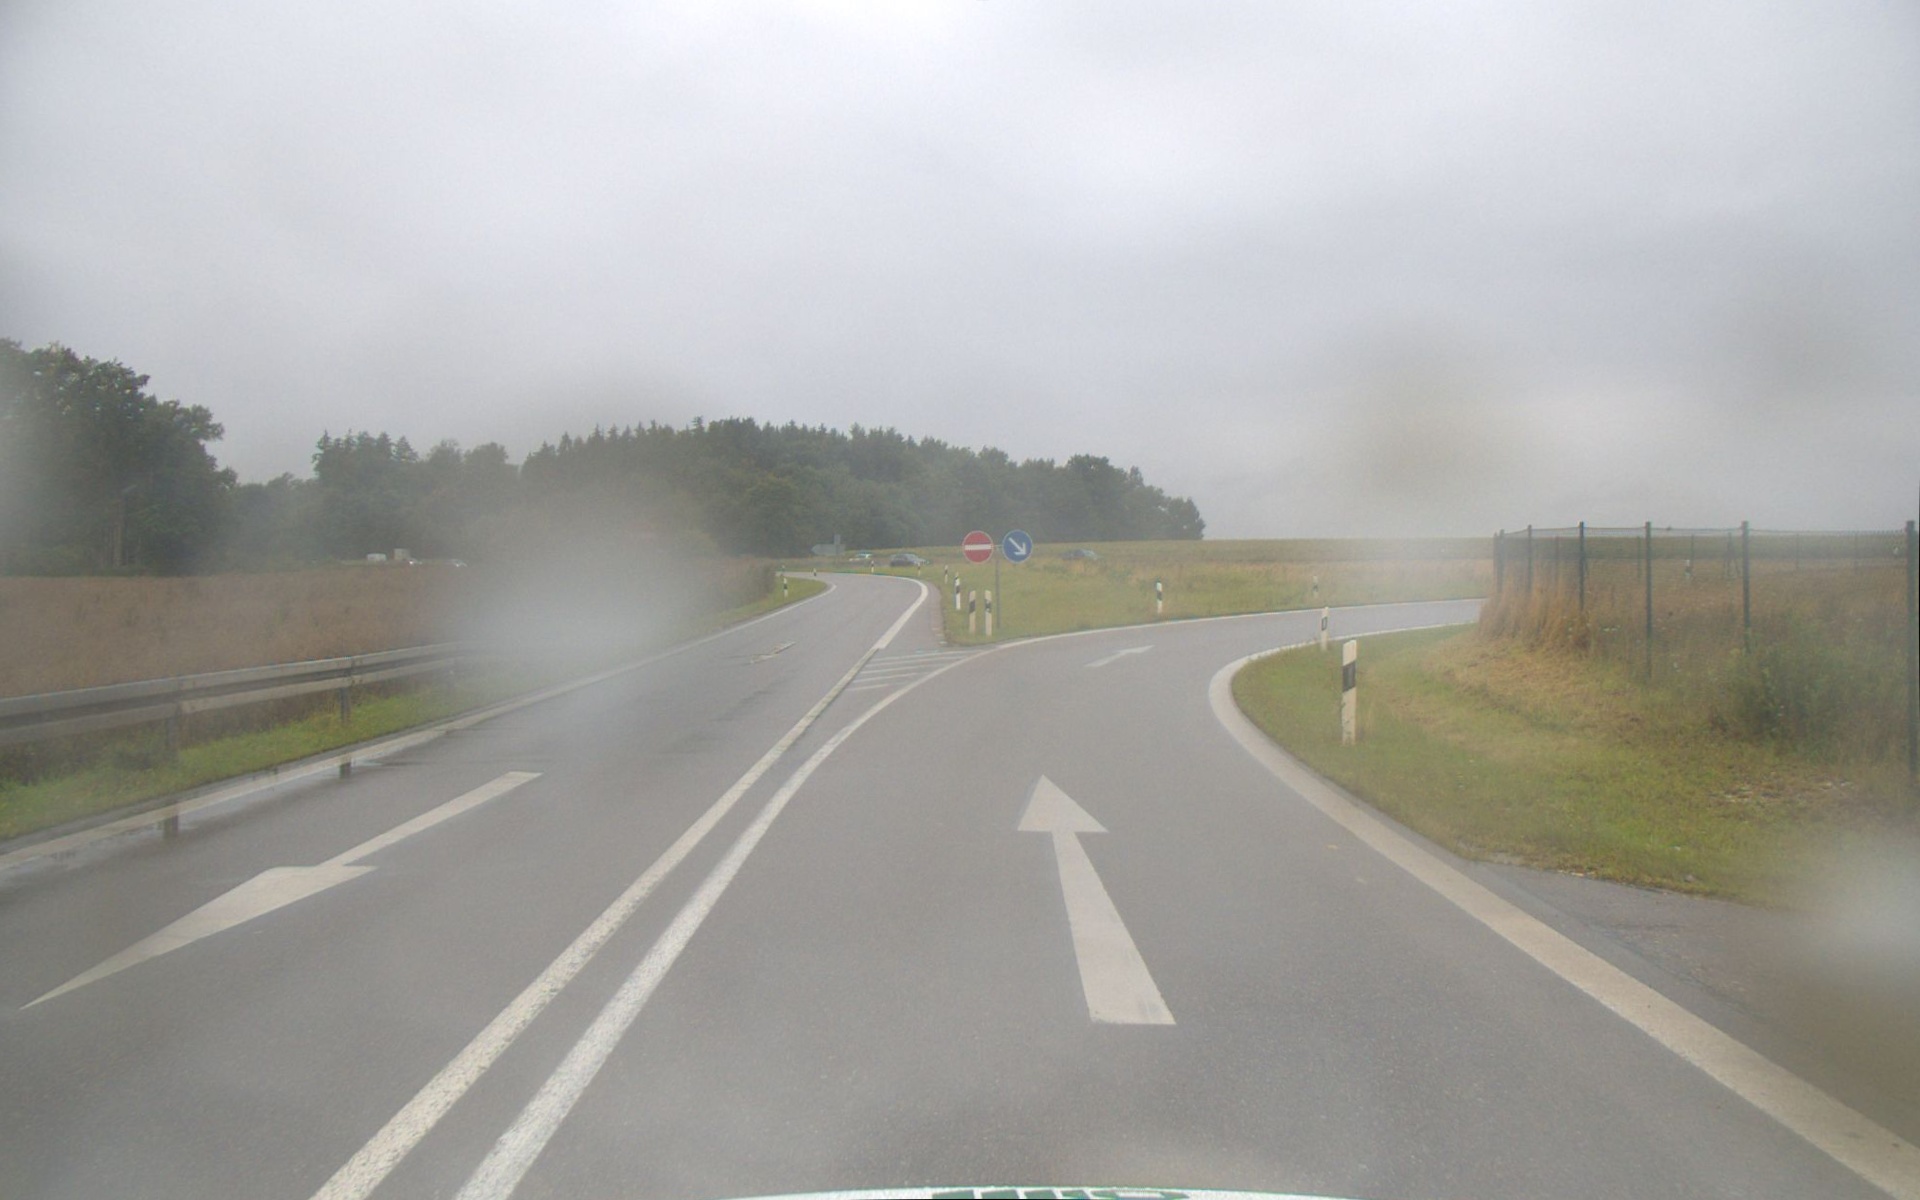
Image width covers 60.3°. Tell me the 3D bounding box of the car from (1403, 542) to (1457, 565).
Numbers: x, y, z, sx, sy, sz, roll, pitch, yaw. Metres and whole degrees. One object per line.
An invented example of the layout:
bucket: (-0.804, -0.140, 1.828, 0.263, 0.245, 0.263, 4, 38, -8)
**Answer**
car: (38.840, -3.844, 136.760, 1.722, 1.766, 3.937, -3, 3, -43)
